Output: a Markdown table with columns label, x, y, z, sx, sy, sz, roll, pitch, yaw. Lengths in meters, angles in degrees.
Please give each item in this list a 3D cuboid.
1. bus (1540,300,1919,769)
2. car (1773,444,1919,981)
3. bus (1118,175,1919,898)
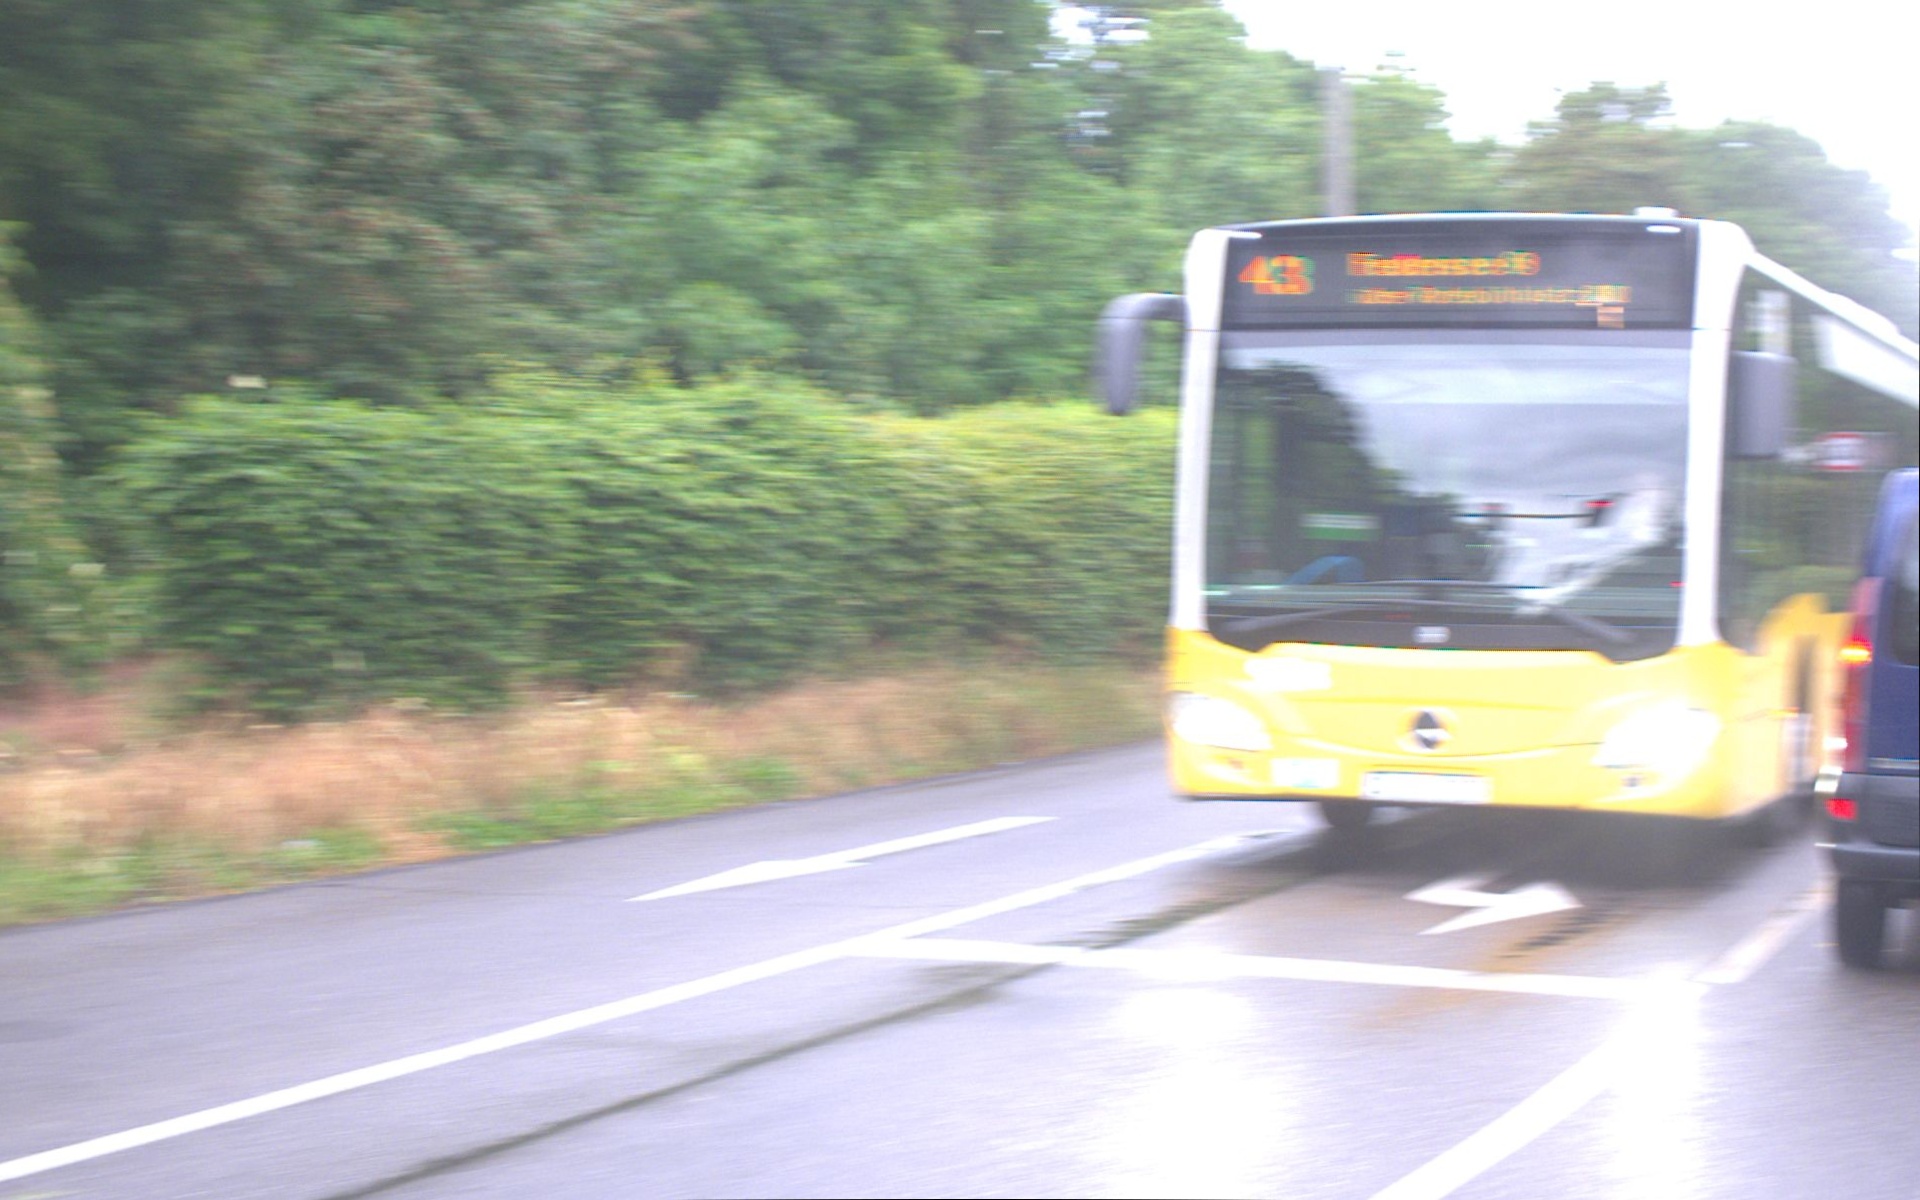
| label | x | y | z | sx | sy | sz | roll | pitch | yaw |
| --- | --- | --- | --- | --- | --- | --- | --- | --- | --- |
| bus | 6.786 | -0.488 | 27.530 | 2.597 | 3.147 | 8.626 | 2 | 1 | 20 |
| car | 4.274 | 0.373 | 13.189 | 1.810 | 1.791 | 3.996 | 1 | 0 | 20 |
| bus | 3.575 | -0.317 | 19.204 | 2.646 | 3.034 | 9.220 | 2 | 1 | 20 |
